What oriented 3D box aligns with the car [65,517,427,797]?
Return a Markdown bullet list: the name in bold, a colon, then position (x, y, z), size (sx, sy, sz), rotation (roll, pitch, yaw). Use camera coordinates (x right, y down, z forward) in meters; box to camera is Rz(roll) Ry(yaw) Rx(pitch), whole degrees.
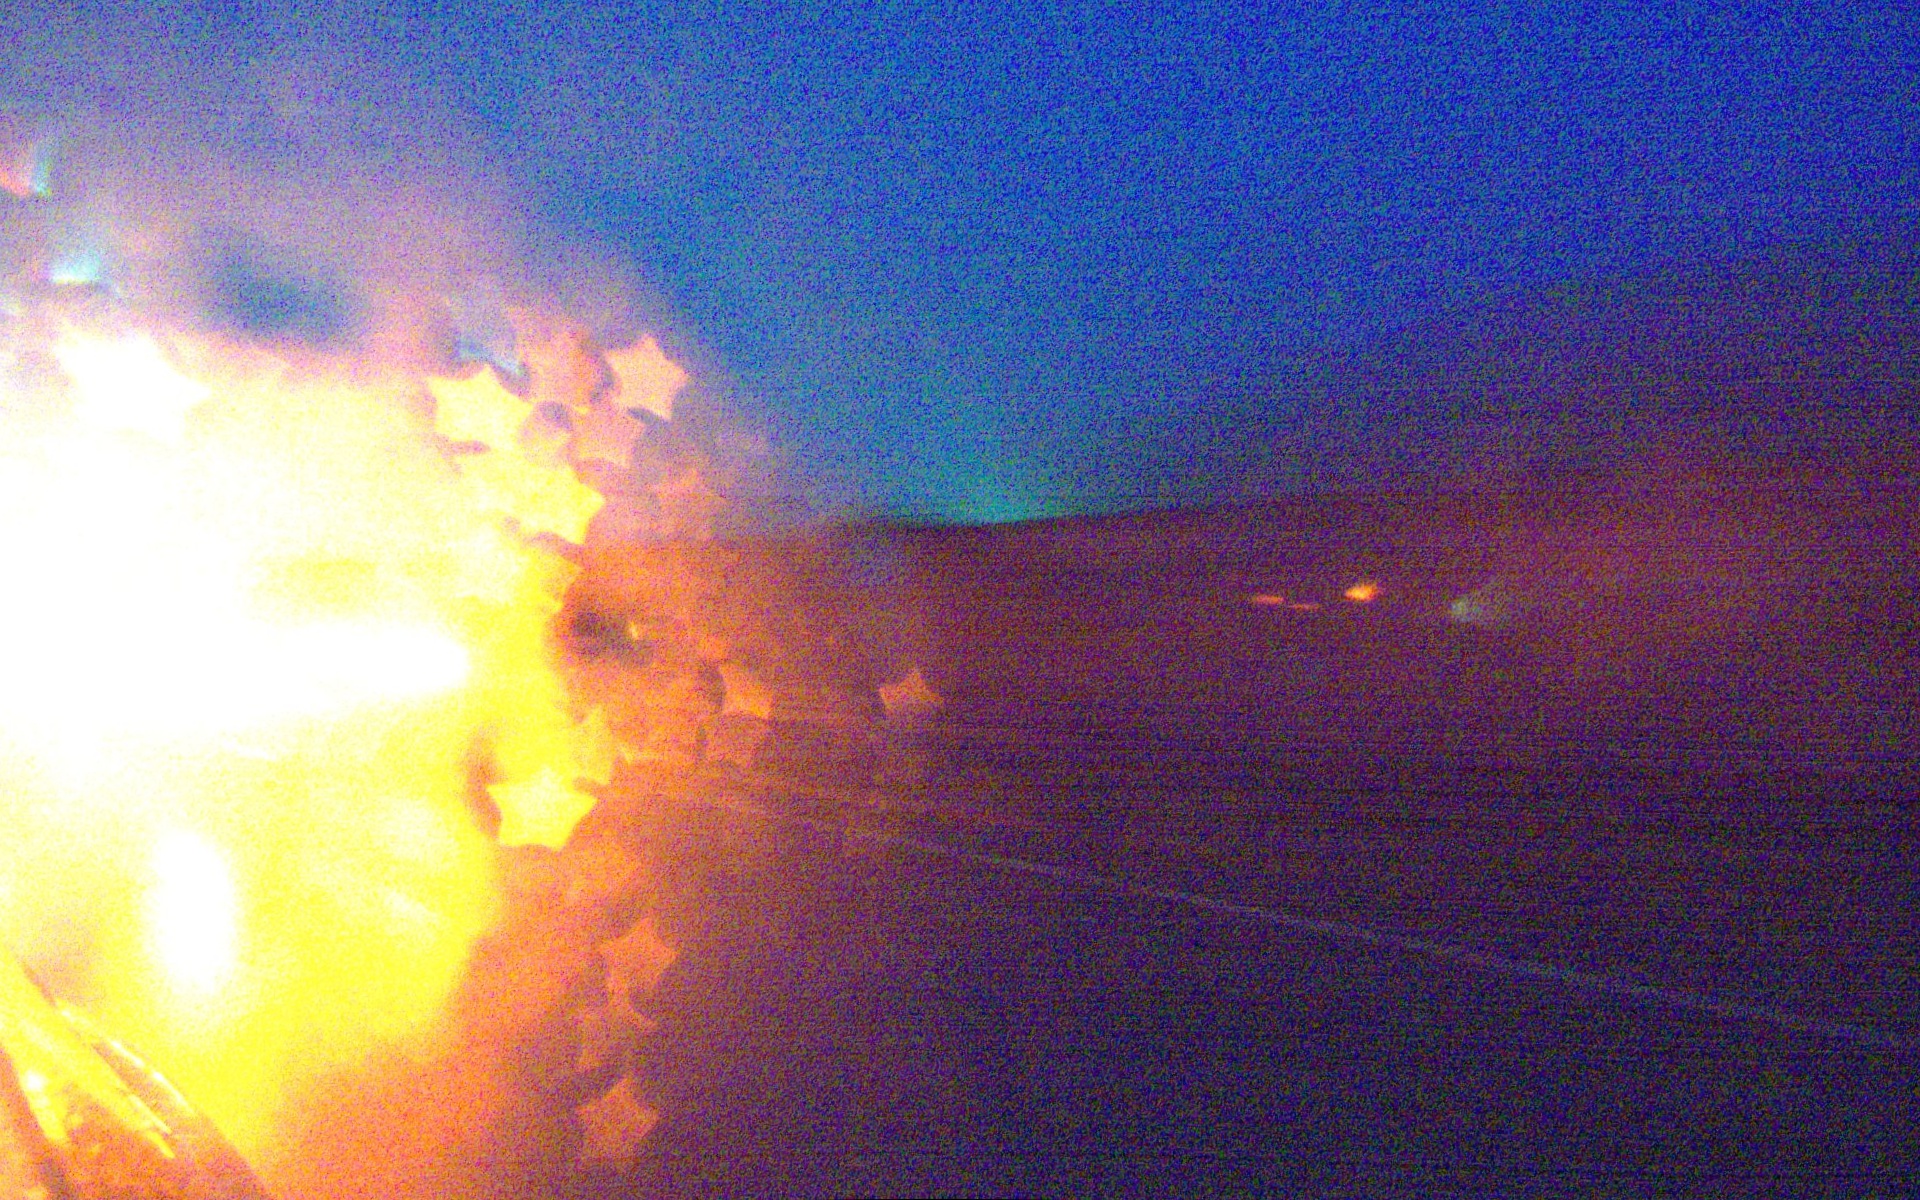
- **car**: position (-7.846, 0.530, 10.845), size (5.465, 2.290, 1.972), rotation (-2, -1, 42)
